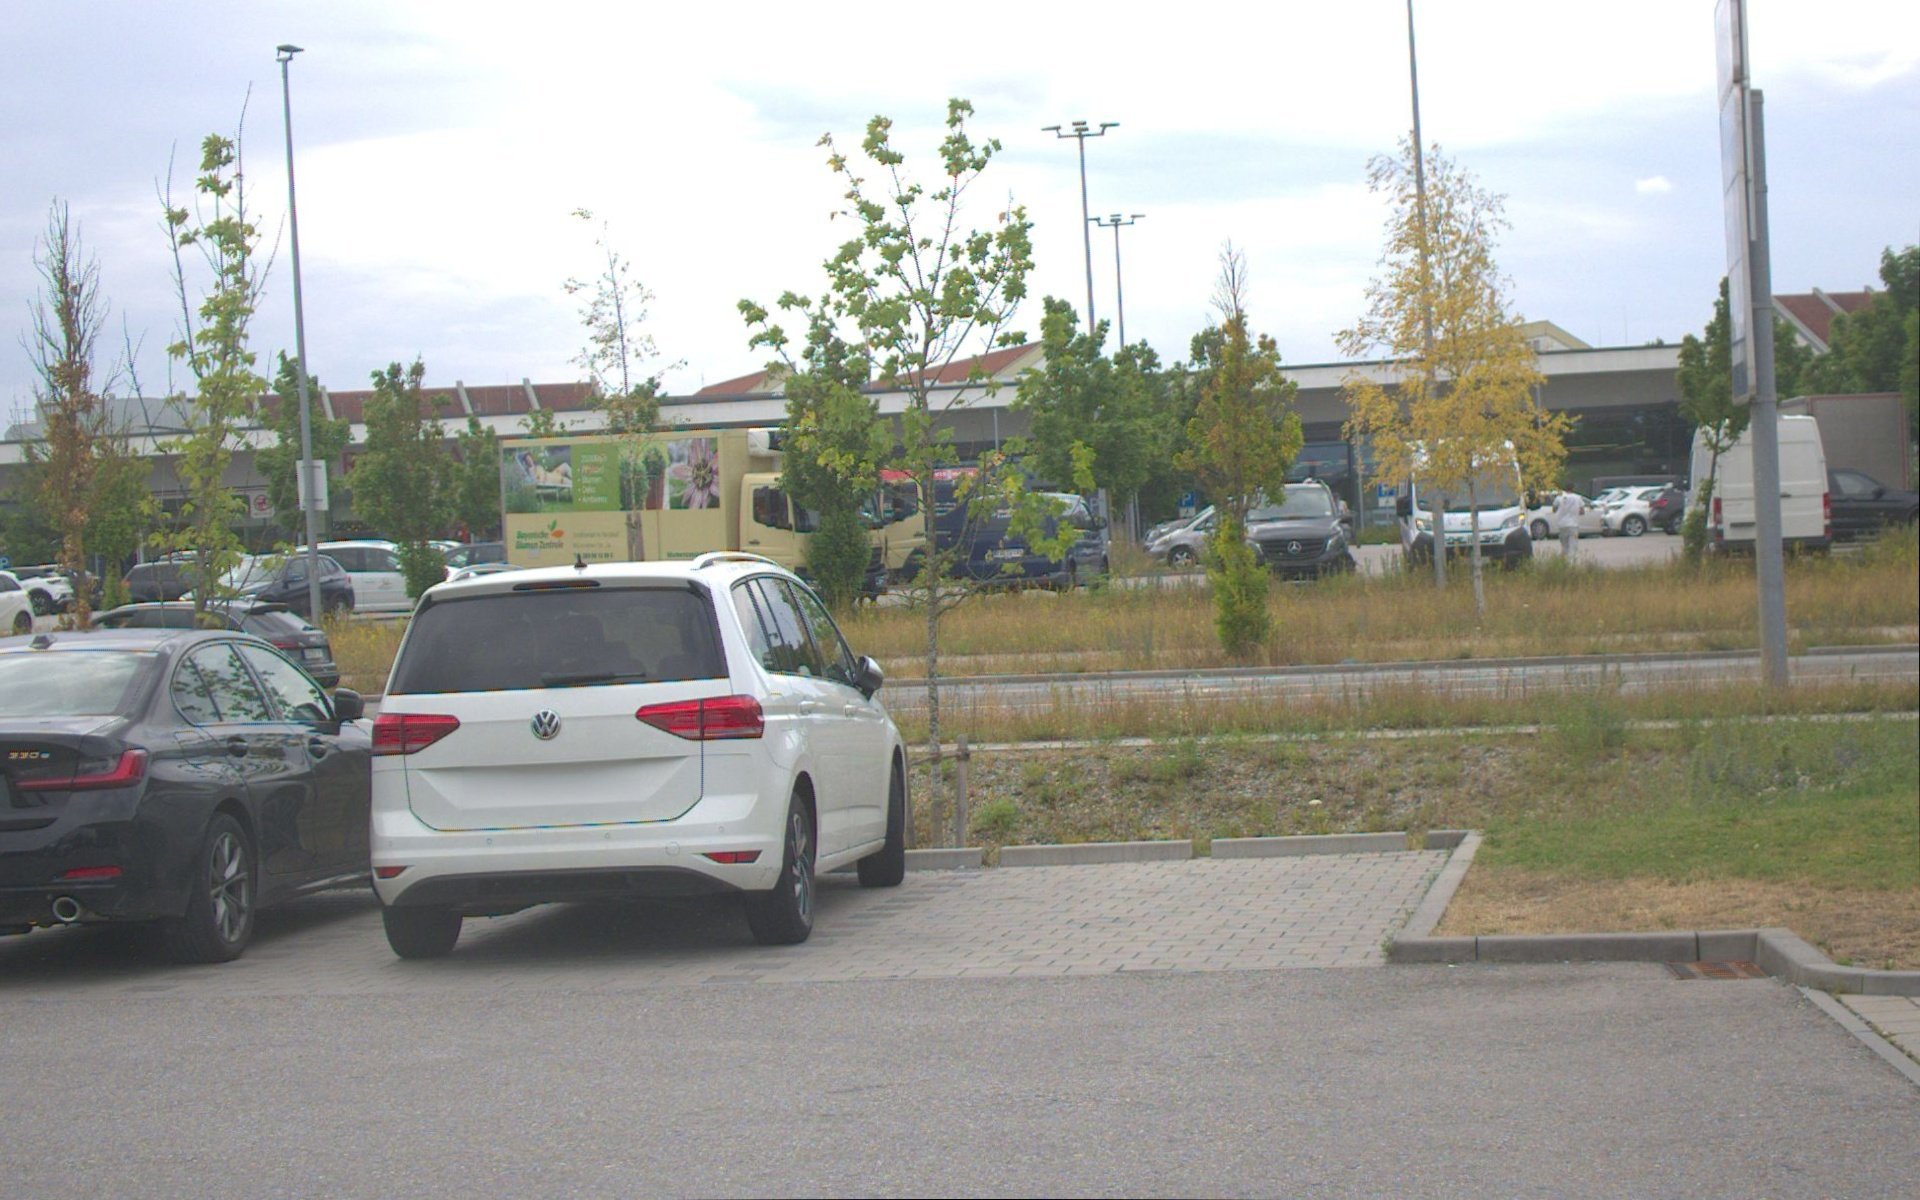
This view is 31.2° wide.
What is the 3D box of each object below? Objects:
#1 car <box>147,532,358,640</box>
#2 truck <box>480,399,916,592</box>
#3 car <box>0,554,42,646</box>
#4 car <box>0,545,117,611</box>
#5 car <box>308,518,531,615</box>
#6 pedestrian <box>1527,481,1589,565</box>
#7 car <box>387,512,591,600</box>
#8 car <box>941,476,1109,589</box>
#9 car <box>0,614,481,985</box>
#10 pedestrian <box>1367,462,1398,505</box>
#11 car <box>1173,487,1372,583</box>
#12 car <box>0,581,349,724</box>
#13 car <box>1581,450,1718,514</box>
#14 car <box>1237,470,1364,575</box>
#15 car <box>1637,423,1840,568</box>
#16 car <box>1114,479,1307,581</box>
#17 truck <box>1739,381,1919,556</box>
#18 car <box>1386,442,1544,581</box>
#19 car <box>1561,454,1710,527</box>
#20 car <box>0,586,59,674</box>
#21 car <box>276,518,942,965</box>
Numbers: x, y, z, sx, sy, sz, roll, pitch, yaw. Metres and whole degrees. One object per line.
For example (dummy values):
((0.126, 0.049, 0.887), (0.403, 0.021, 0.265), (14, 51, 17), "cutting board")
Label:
((-13.463, -0.289, 65.683), (1.927, 1.765, 4.318), (-2, 3, 19), "car")
((-4.950, -1.880, 63.478), (8.426, 3.185, 3.022), (-1, 3, 44), "truck")
((-20.237, 0.096, 68.431), (1.994, 1.765, 4.320), (-3, 3, 11), "car")
((-28.435, -0.667, 106.103), (4.174, 1.831, 2.000), (-2, 2, 9), "car")
((-11.199, -0.704, 71.318), (3.990, 1.765, 1.999), (-2, 3, 17), "car")
((10.666, -1.374, 61.345), (0.975, 1.424, 0.787), (-3, 2, 5), "pedestrian")
((-11.006, -1.038, 80.505), (4.308, 1.765, 2.000), (-3, 2, 7), "car")
((1.225, -1.225, 61.988), (2.072, 1.878, 5.068), (-2, 1, 12), "car")
((-3.830, 0.835, 16.041), (1.942, 1.461, 4.515), (-2, -1, 8), "car")
((14.674, -4.050, 119.523), (0.651, 1.424, 0.798), (-4, 3, -31), "pedestrian")
((6.508, -1.363, 71.594), (3.988, 1.732, 1.891), (-3, 2, 6), "car")
((-10.514, 0.678, 44.191), (4.840, 1.546, 1.802), (-3, 2, 10), "car")
((21.194, -3.641, 105.848), (3.988, 1.730, 1.934), (-3, 2, 9), "car")
((5.992, -1.391, 60.445), (2.071, 1.633, 5.070), (-2, 3, 6), "car")
((13.405, -1.870, 59.629), (2.338, 2.259, 6.506), (-3, 2, 4), "car")
((5.504, -1.561, 75.992), (3.987, 2.006, 2.000), (-3, 2, -1), "car")
((20.136, -3.097, 79.950), (2.648, 3.730, 8.256), (-3, 2, 5), "truck")
((8.777, -1.602, 60.216), (2.409, 2.206, 6.059), (-2, 3, 6), "car")
((19.124, -3.117, 97.520), (3.988, 1.831, 2.000), (-3, 2, 9), "car")
((-22.029, 0.715, 74.599), (4.310, 1.765, 1.920), (-2, 2, 15), "car")
((-1.414, 0.579, 15.745), (1.986, 1.707, 4.371), (-2, -1, 8), "car")
